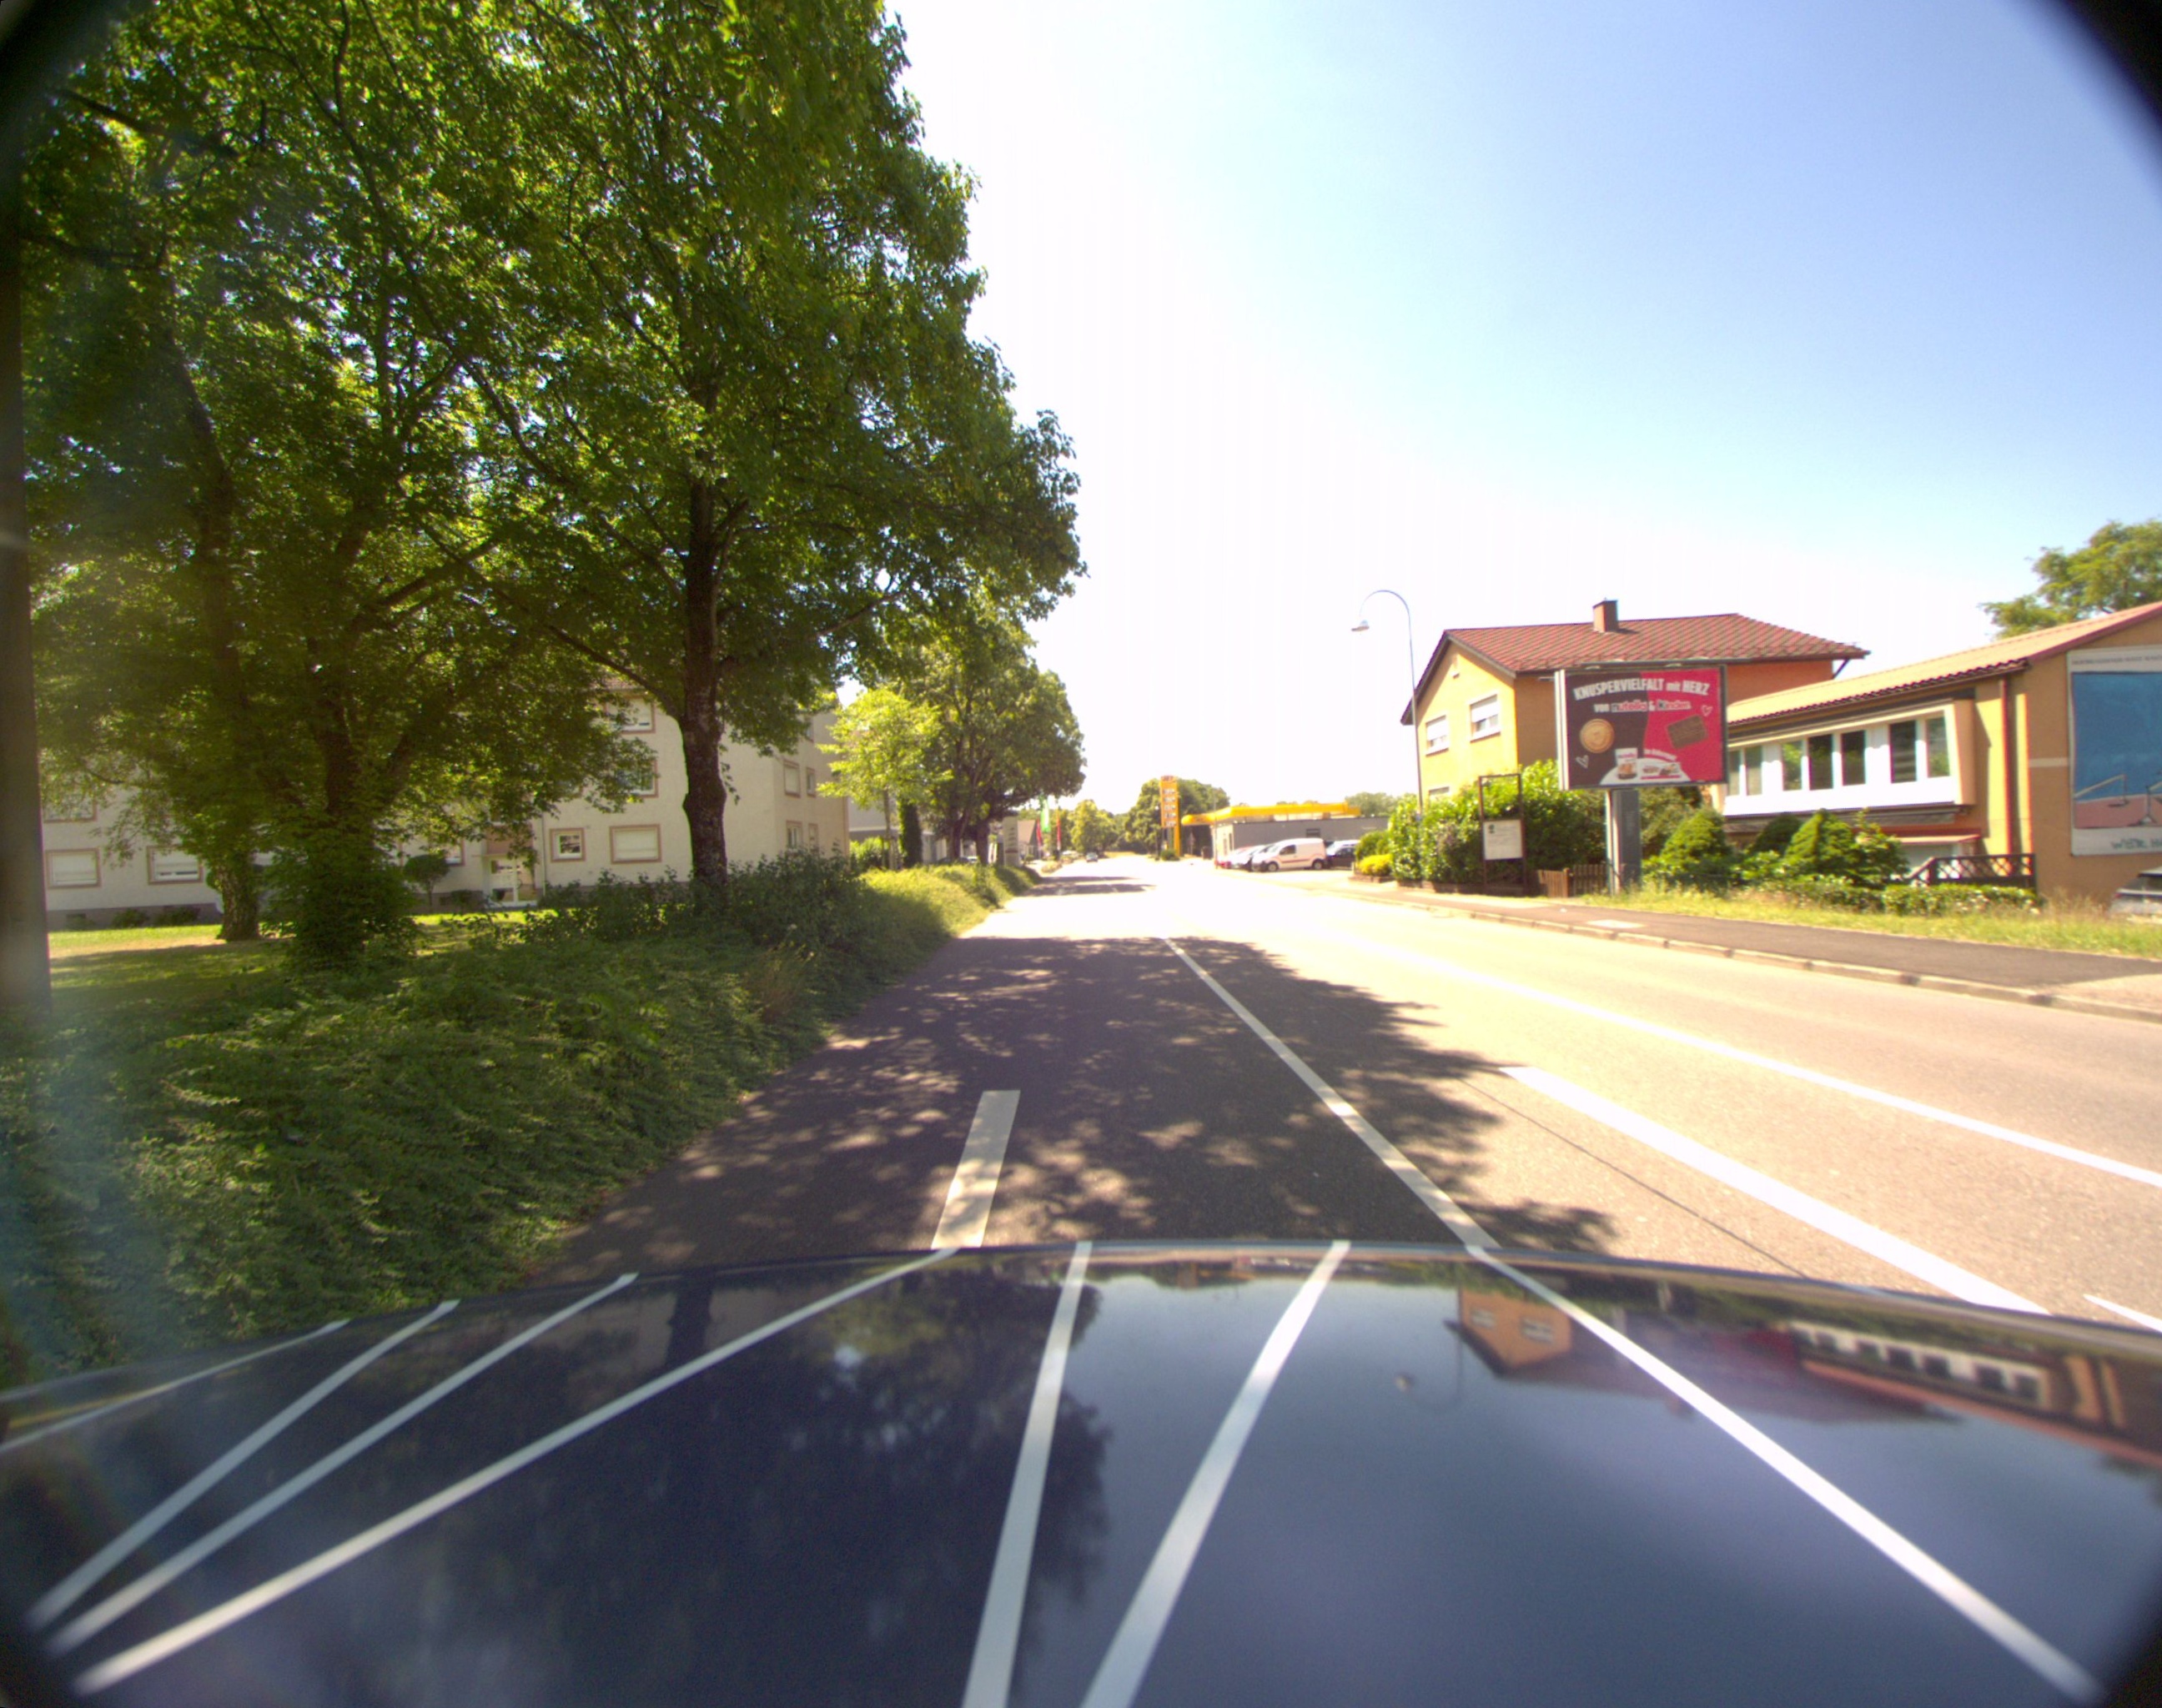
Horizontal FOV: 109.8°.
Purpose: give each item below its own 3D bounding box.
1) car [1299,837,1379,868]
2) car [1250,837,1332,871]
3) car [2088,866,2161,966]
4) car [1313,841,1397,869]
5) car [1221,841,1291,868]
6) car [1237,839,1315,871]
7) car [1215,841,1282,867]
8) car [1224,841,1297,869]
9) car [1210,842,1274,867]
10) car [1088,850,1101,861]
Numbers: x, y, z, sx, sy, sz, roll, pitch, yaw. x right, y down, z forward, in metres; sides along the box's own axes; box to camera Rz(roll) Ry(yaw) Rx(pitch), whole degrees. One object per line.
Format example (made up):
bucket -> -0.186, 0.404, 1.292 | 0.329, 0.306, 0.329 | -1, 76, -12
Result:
car -> 16.499, -0.121, 48.697 | 4.402, 1.815, 1.874 | -2, 1, -5
car -> 12.225, 0.002, 44.420 | 4.191, 1.858, 1.874 | -2, 1, -5
car -> 19.948, 0.996, 12.406 | 4.224, 1.599, 1.772 | -1, 1, 7
car -> 16.695, 0.044, 46.432 | 4.402, 1.554, 1.874 | -2, 1, -5
car -> 12.210, 0.025, 53.234 | 4.402, 1.750, 1.874 | -2, 1, -5
car -> 11.903, 0.051, 46.564 | 4.246, 1.750, 1.874 | -2, 1, -5
car -> 12.234, -0.024, 55.570 | 4.402, 1.750, 1.874 | -2, 1, -5
car -> 12.050, 0.060, 51.064 | 4.402, 1.750, 1.874 | -2, 1, -5
car -> 12.263, 0.019, 57.977 | 4.402, 1.750, 1.874 | -2, 1, -5
car -> 1.919, 0.235, 109.729 | 1.771, 1.521, 4.130 | -2, 1, 1
